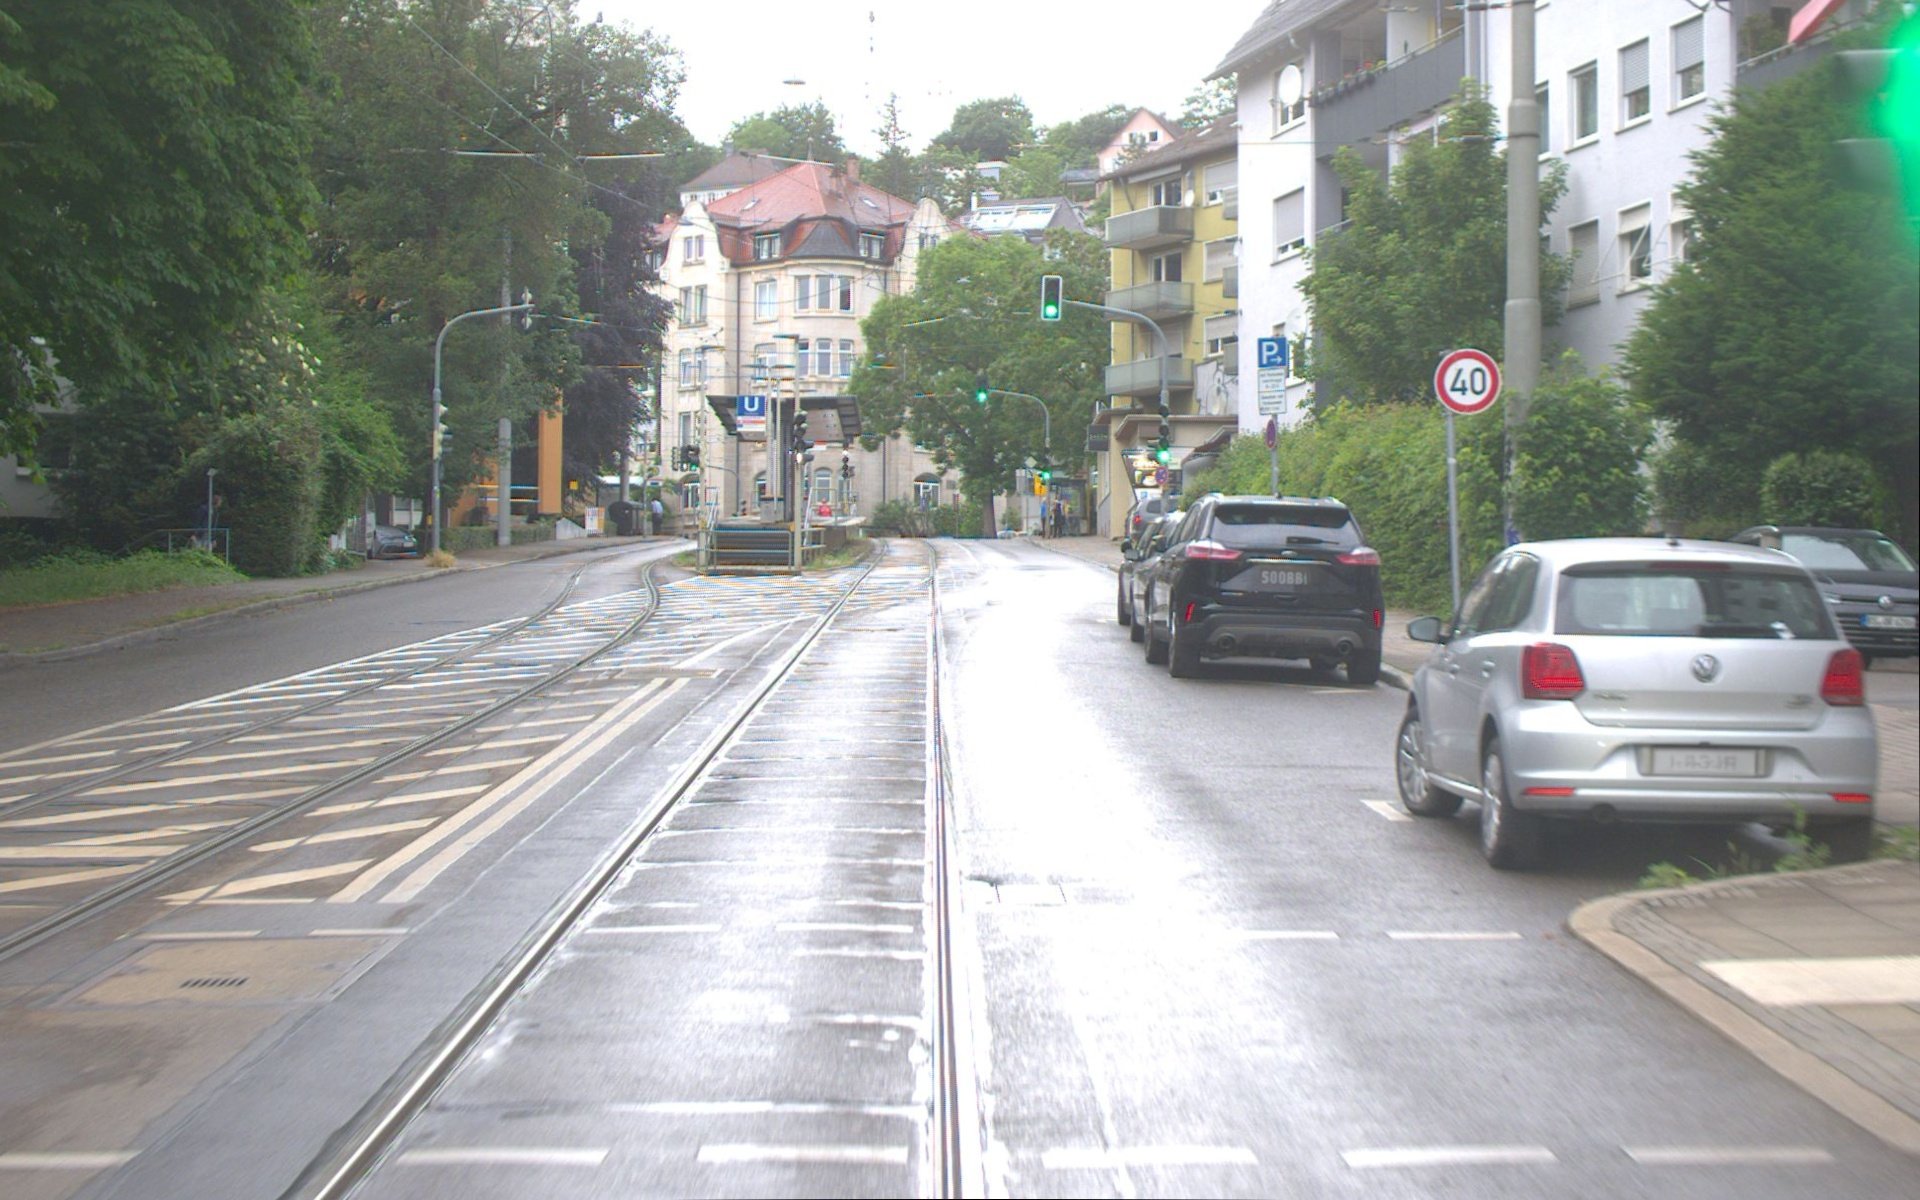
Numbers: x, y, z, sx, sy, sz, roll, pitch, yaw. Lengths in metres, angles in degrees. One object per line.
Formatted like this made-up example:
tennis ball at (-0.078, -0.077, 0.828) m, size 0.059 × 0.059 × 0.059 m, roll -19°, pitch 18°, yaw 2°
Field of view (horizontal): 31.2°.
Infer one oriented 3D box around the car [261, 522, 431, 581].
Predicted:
car at (-15.780, -1.233, 88.414) m, size 3.991 × 1.401 × 1.680 m, roll 0°, pitch -3°, yaw 22°

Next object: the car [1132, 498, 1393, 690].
car at (2.784, -0.088, 32.684) m, size 1.906 × 1.636 × 4.690 m, roll 2°, pitch 1°, yaw -1°

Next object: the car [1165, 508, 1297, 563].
car at (8.316, -1.974, 105.654) m, size 3.841 × 1.537 × 1.808 m, roll 1°, pitch -1°, yaw -2°

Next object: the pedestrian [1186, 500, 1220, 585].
pedestrian at (4.708, -1.117, 66.570) m, size 0.644 × 1.623 × 0.699 m, roll 1°, pitch 0°, yaw 4°

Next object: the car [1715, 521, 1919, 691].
car at (9.022, 0.111, 34.865) m, size 1.720 × 1.510 × 4.203 m, roll 1°, pitch -3°, yaw -1°

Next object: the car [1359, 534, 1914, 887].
car at (3.070, 0.430, 16.431) m, size 1.704 × 1.428 × 4.102 m, roll 2°, pitch 1°, yaw -1°

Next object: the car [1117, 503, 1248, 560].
car at (7.071, -2.170, 109.363) m, size 3.987 × 1.640 × 1.808 m, roll 1°, pitch -1°, yaw -1°

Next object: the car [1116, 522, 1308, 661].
car at (2.770, -0.126, 38.595) m, size 1.704 × 1.423 × 4.251 m, roll 2°, pitch 1°, yaw -1°

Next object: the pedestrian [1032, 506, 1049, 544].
pedestrian at (3.183, -2.969, 135.635) m, size 0.578 × 1.462 × 0.544 m, roll 2°, pitch -3°, yaw -8°

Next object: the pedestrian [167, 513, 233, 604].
pedestrian at (-14.328, -0.768, 64.835) m, size 0.916 × 1.672 × 0.739 m, roll 0°, pitch -3°, yaw 25°
